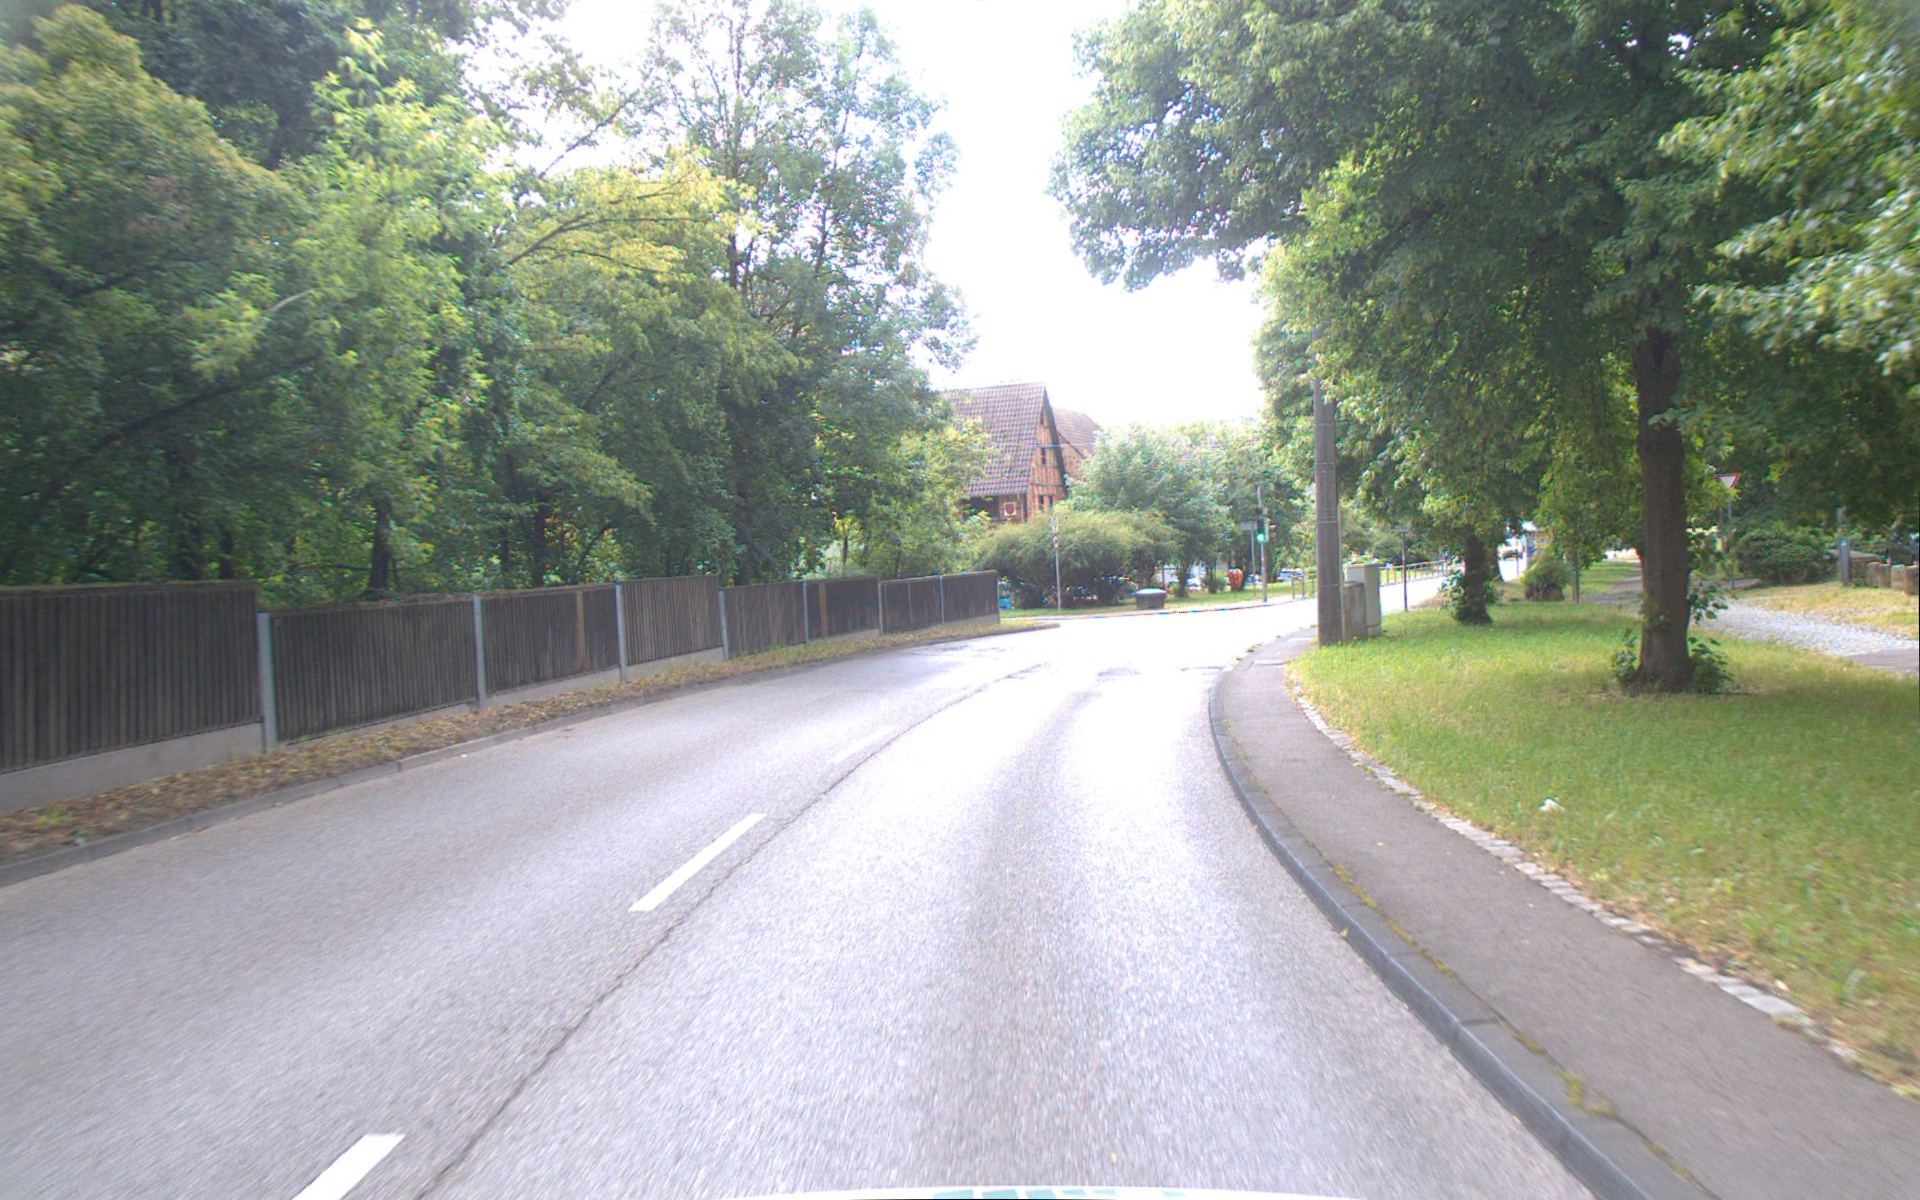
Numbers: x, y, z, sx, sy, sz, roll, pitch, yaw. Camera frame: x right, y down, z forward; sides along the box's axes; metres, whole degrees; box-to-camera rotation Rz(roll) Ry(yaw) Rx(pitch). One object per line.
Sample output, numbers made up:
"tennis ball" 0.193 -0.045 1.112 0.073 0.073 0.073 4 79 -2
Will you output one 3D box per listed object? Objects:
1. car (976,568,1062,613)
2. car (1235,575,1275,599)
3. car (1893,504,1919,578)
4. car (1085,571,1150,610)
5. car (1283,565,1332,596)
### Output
"car" 2.567 -0.413 71.081 1.954 1.646 4.445 -5 0 26
"car" 17.834 -0.782 99.838 1.523 1.300 2.550 -4 0 30
"car" 21.763 -1.358 36.040 1.868 1.455 4.468 -5 2 23
"car" 7.747 -0.486 81.165 1.776 1.646 3.997 -5 0 27
"car" 22.532 -1.268 107.190 1.885 1.724 3.994 -4 0 30
